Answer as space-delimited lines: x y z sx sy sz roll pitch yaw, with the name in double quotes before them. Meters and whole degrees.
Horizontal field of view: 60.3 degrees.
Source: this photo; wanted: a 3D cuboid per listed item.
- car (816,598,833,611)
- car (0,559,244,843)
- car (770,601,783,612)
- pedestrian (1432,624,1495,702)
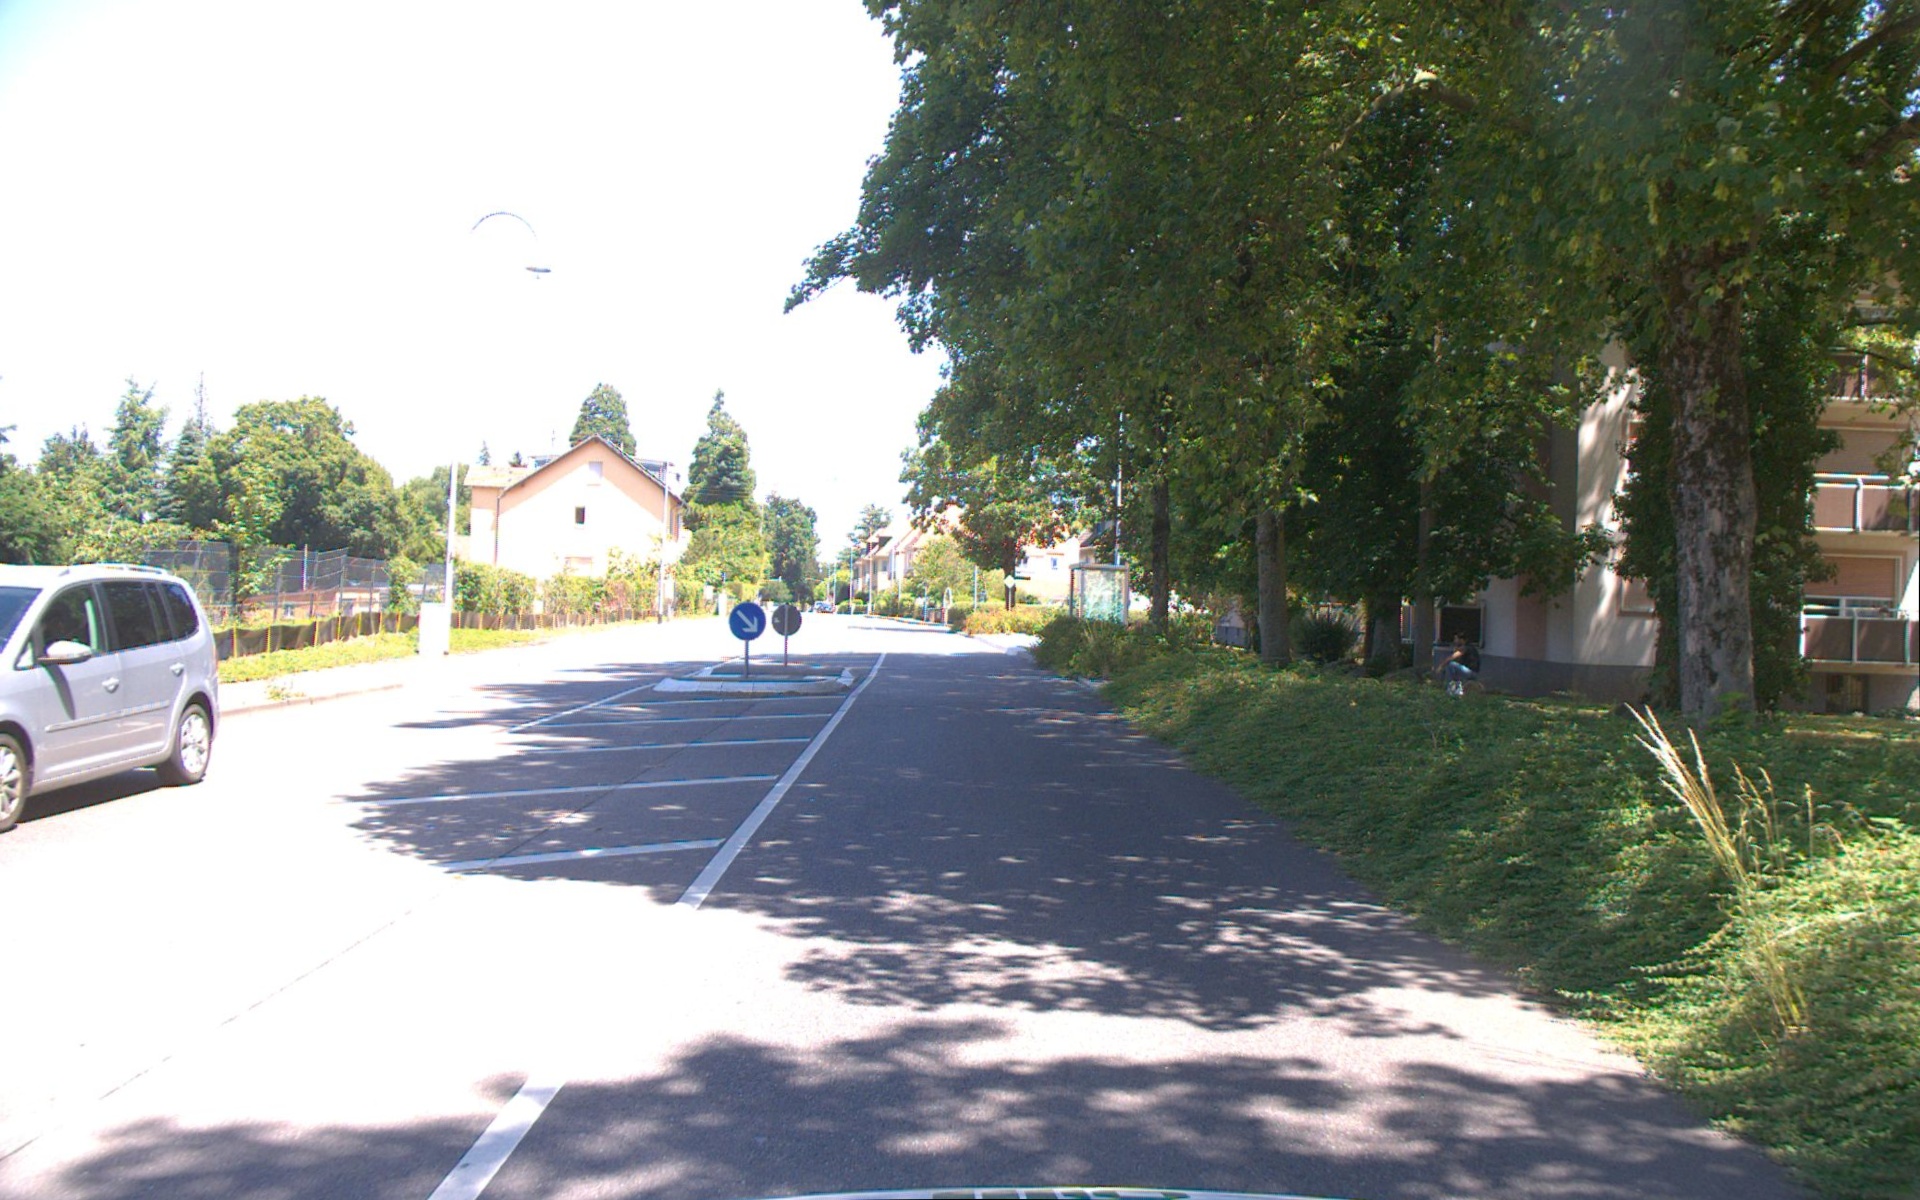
"car" -16.458 0.518 200.607 1.661 1.444 4.542 2 -1 -8
"car" -6.586 0.596 11.045 1.747 1.673 4.686 0 0 -3
"car" -24.024 0.869 216.121 1.648 1.396 4.201 0 0 -6
"pedestrian" 8.965 1.112 29.474 0.919 1.315 1.070 2 0 11
